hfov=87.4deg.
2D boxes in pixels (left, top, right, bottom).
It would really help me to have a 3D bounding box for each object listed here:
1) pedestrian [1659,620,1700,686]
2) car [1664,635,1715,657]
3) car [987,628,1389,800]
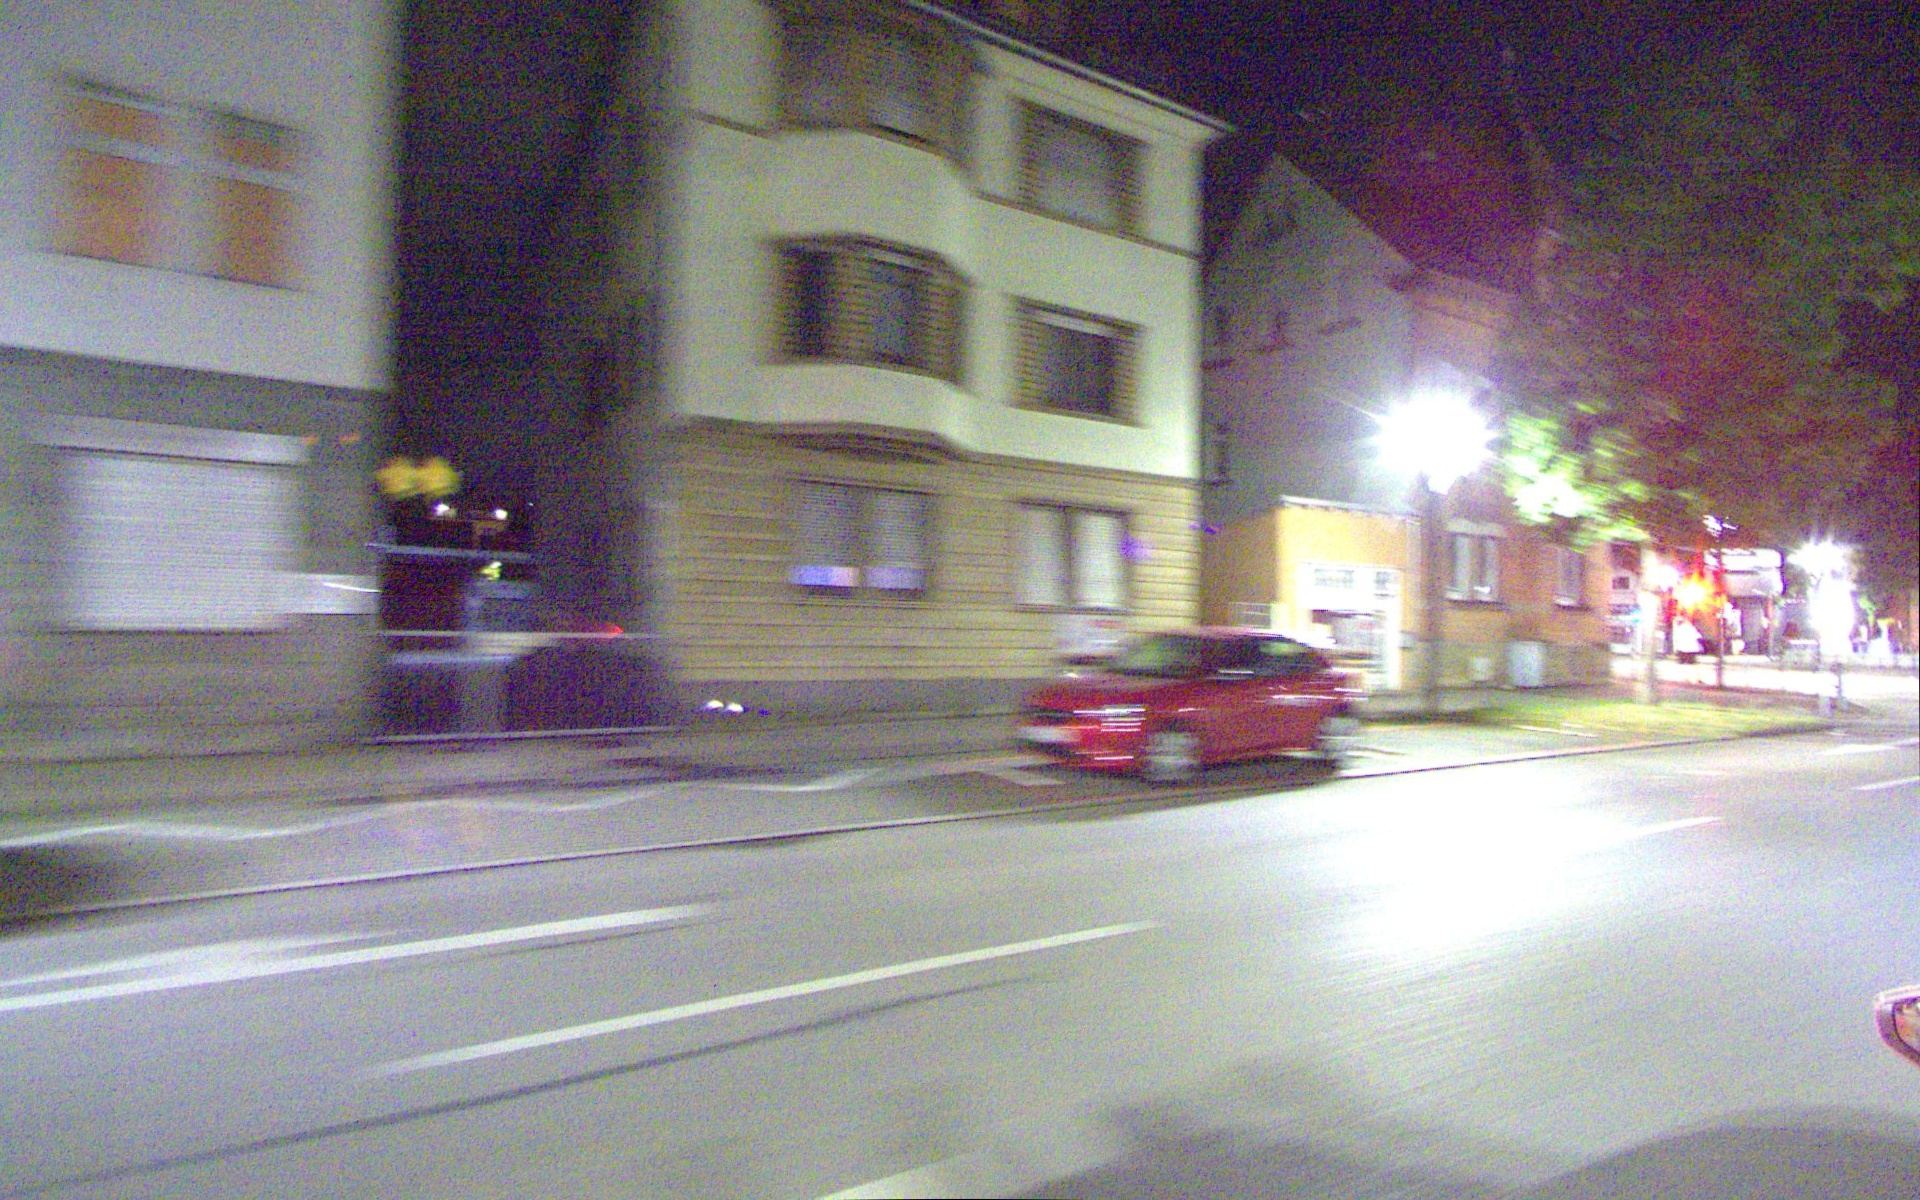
[{"bbox_3d":[20.699,1.518,28.922,0.711,1.846,0.693,2,-1,13],"label":"pedestrian"},{"bbox_3d":[55.589,3.509,76.608,1.960,1.595,3.656,0,-2,16],"label":"car"},{"bbox_3d":[2.468,1.055,10.581,4.081,1.434,1.774,1,0,-32],"label":"car"}]
